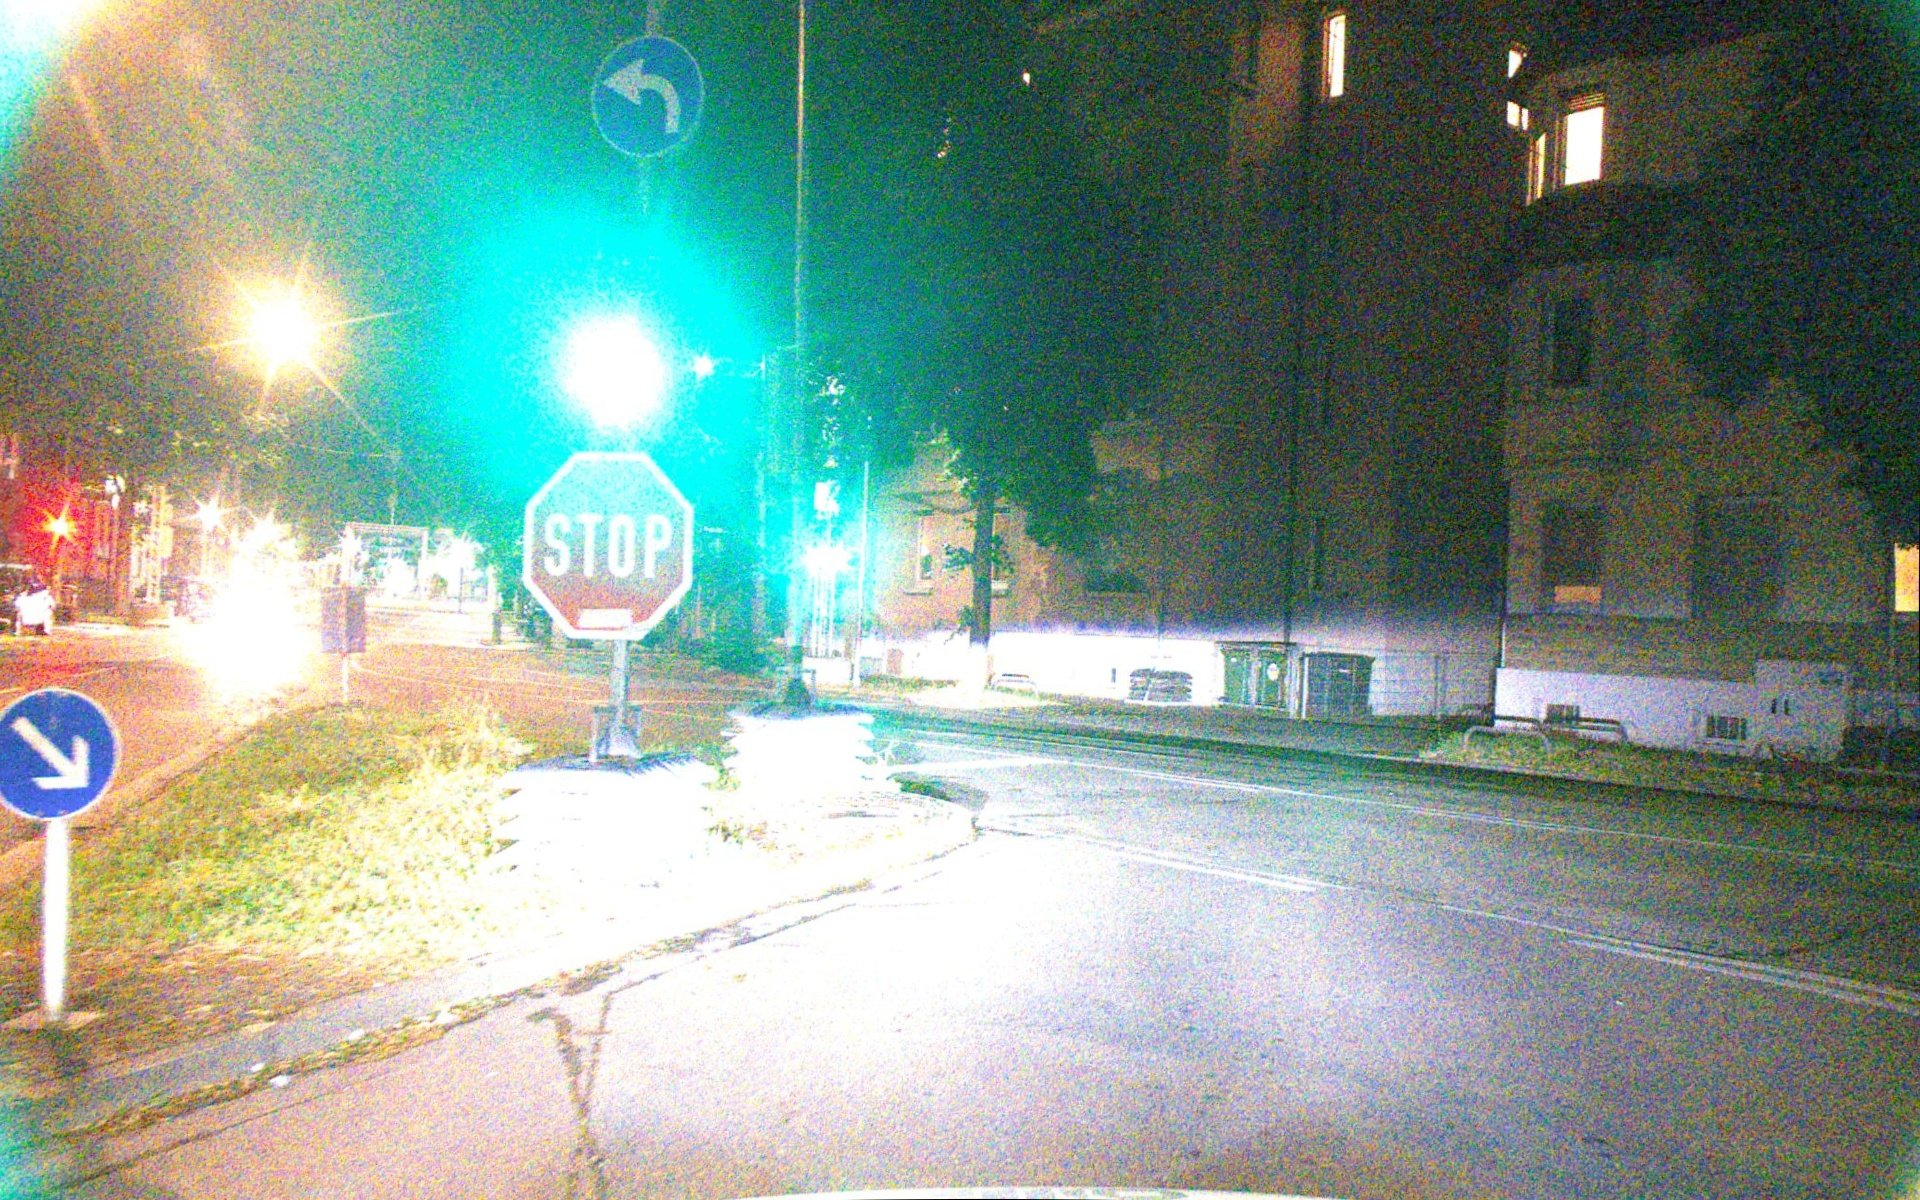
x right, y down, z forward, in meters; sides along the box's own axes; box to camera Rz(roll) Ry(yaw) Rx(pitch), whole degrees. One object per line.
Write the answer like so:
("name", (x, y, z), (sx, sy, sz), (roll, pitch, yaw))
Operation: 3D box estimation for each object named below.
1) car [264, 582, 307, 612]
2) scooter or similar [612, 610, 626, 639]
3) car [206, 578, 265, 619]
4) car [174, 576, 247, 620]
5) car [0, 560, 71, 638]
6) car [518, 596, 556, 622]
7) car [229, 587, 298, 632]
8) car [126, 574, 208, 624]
("car", (-36.935, -0.168, 90.602), (1.757, 1.440, 4.105), (5, -1, -18))
("scooter or similar", (-13.959, 0.993, 67.717), (0.414, 1.150, 1.490), (3, -1, -9))
("car", (-30.875, -0.072, 70.581), (1.757, 1.517, 3.979), (6, -1, -18))
("car", (-29.339, -0.080, 64.871), (1.755, 1.517, 4.312), (6, -1, -15))
("car", (-21.297, -0.074, 36.634), (1.855, 1.624, 4.007), (5, -1, -15))
("car", (-26.366, 0.555, 102.917), (1.709, 1.485, 4.698), (4, -1, -21))
("car", (-24.111, 0.309, 57.351), (1.687, 1.454, 3.982), (2, 0, -16))
("car", (-27.127, -0.035, 56.693), (1.565, 1.517, 3.688), (6, -1, -12))
